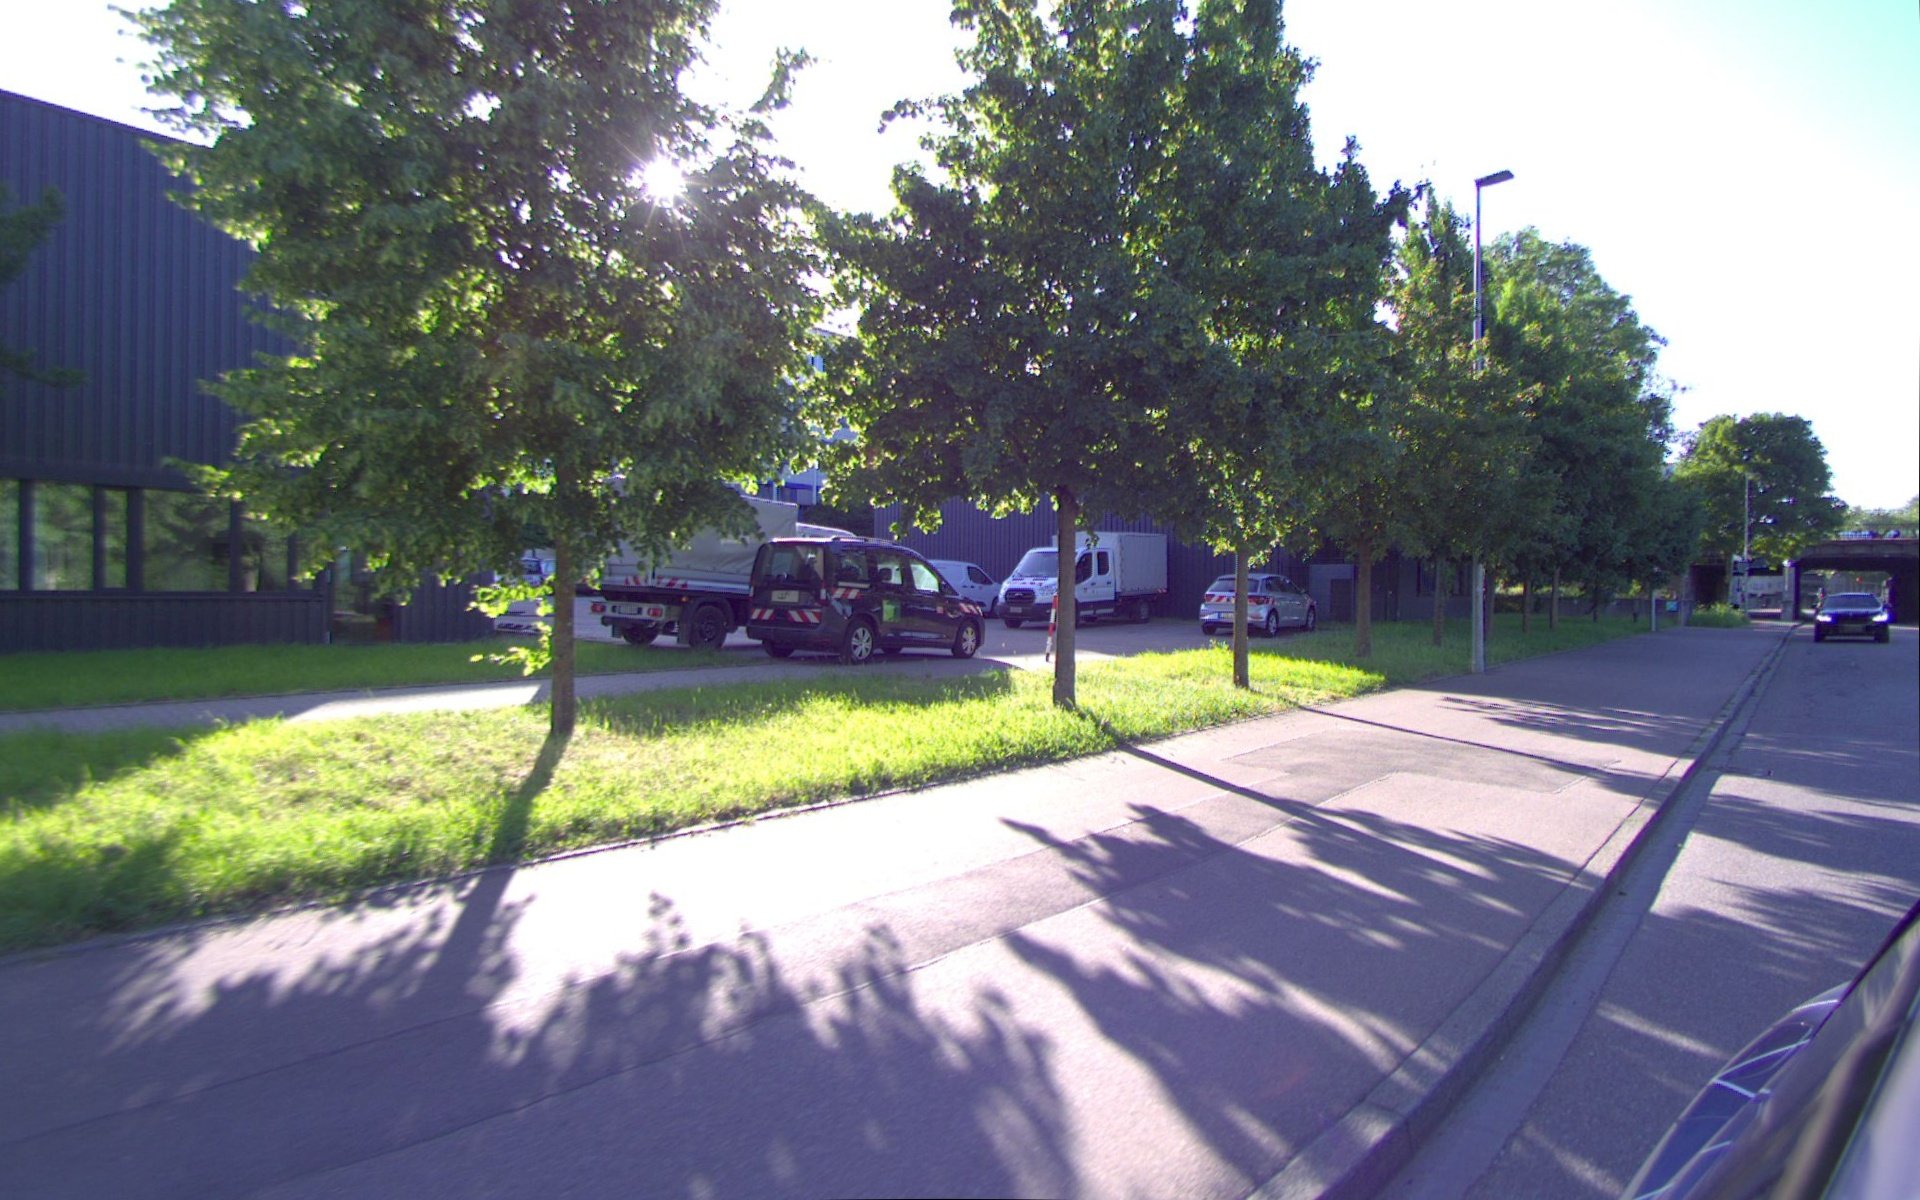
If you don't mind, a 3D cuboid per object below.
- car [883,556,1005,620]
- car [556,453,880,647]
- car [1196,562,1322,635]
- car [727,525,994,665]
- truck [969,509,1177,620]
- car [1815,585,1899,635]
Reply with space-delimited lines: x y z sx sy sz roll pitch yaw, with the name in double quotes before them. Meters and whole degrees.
"car" -0.446 -0.437 31.221 1.770 1.747 3.717 2 4 40
"car" -3.914 -0.650 17.303 2.224 2.808 5.068 0 -2 37
"car" 7.235 -0.114 24.305 1.768 1.503 3.605 2 4 37
"car" -1.403 -0.103 15.871 1.889 1.881 4.186 2 1 35
"truck" 3.291 -0.892 28.036 2.568 2.726 6.321 0 0 42
"car" 31.653 0.300 35.671 2.032 1.653 4.540 0 0 44
